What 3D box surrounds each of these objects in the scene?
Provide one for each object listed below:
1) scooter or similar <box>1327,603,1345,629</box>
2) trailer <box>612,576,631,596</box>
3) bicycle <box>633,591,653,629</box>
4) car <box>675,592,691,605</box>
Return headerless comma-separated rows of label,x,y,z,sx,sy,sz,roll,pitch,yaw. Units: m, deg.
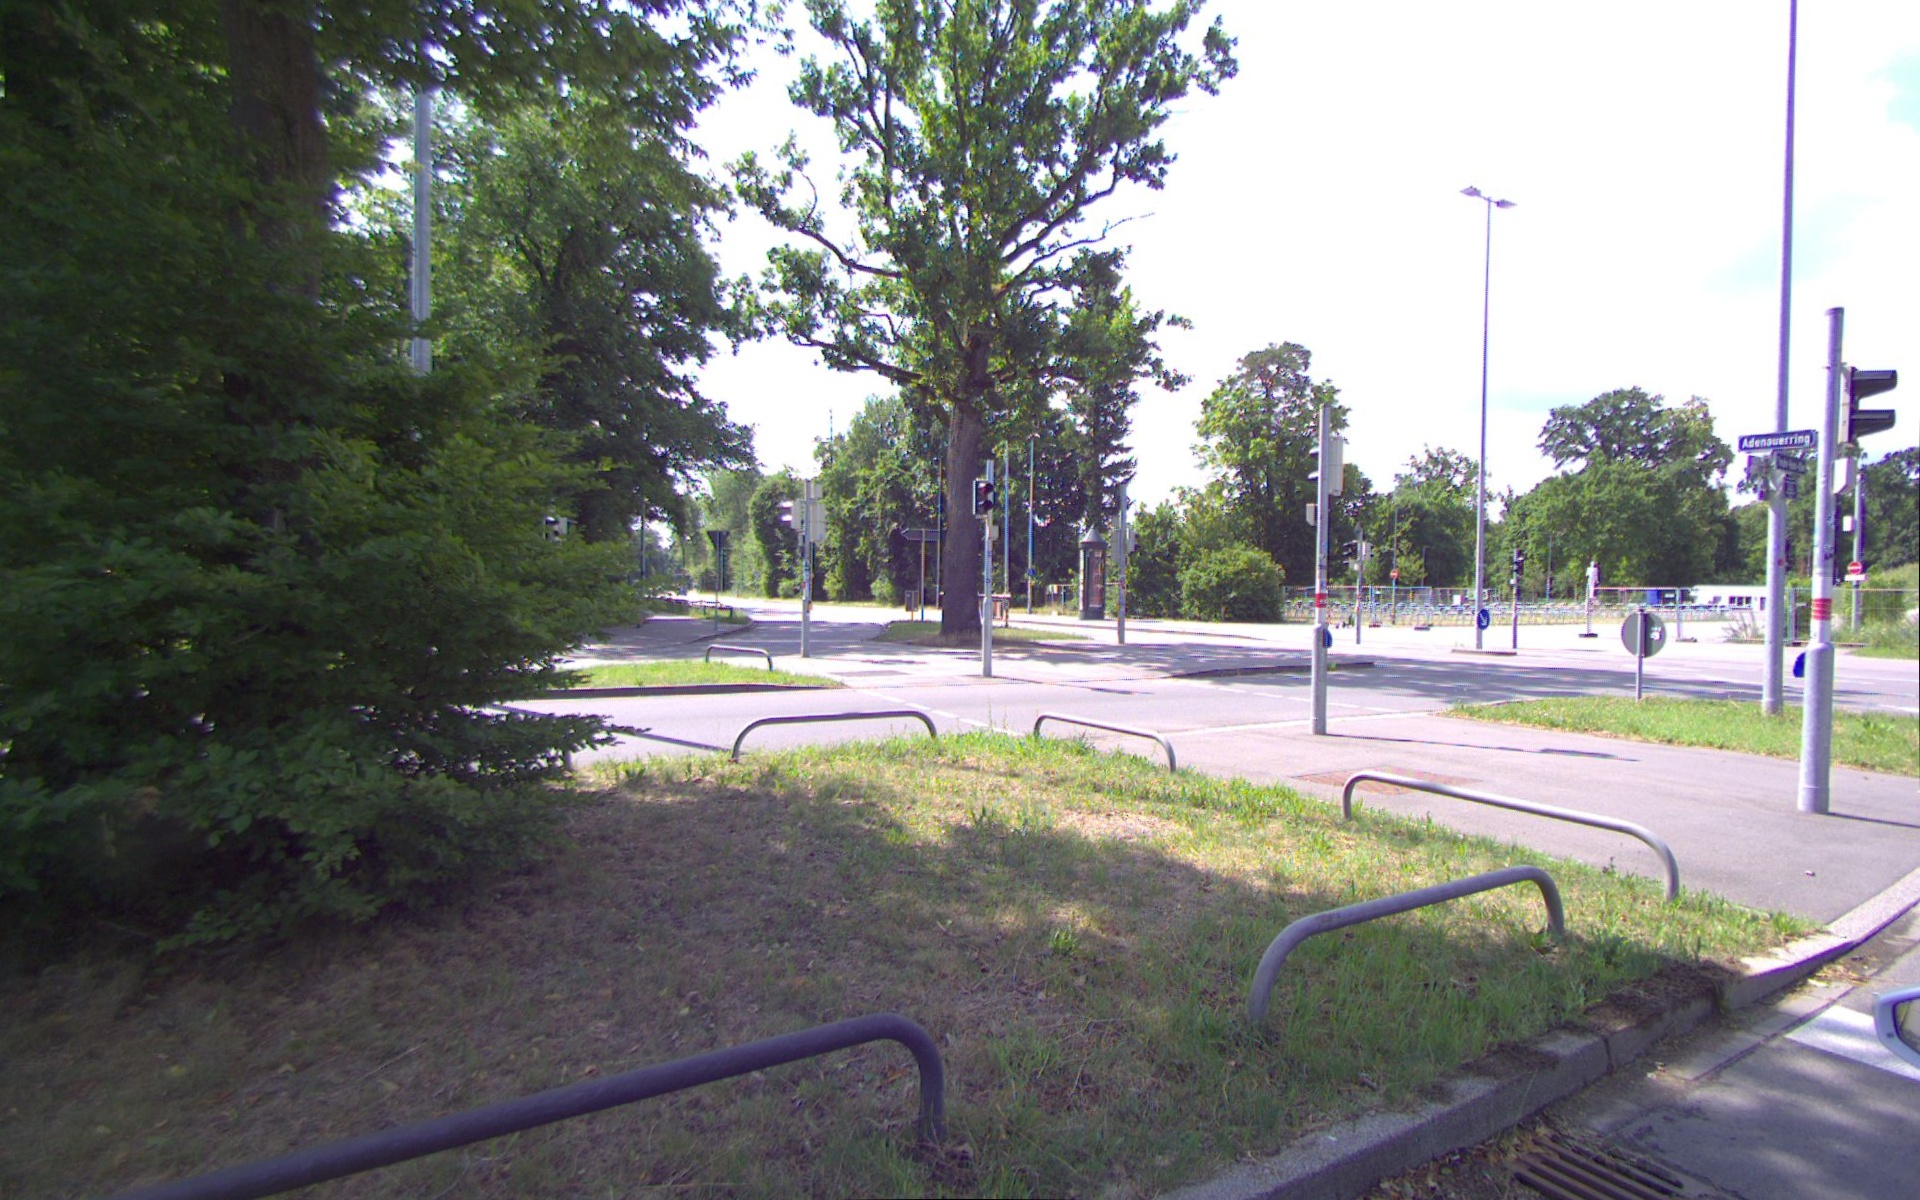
scooter or similar,18.358,0.784,49.093,0.399,1.216,1.312,0,1,0
trailer,-42.463,-1.728,125.863,1.971,2.420,3.979,2,0,-22
bicycle,-10.326,0.314,32.734,0.413,1.189,1.228,2,0,-8
car,-45.185,-0.316,163.682,1.972,2.040,3.977,2,0,-24
